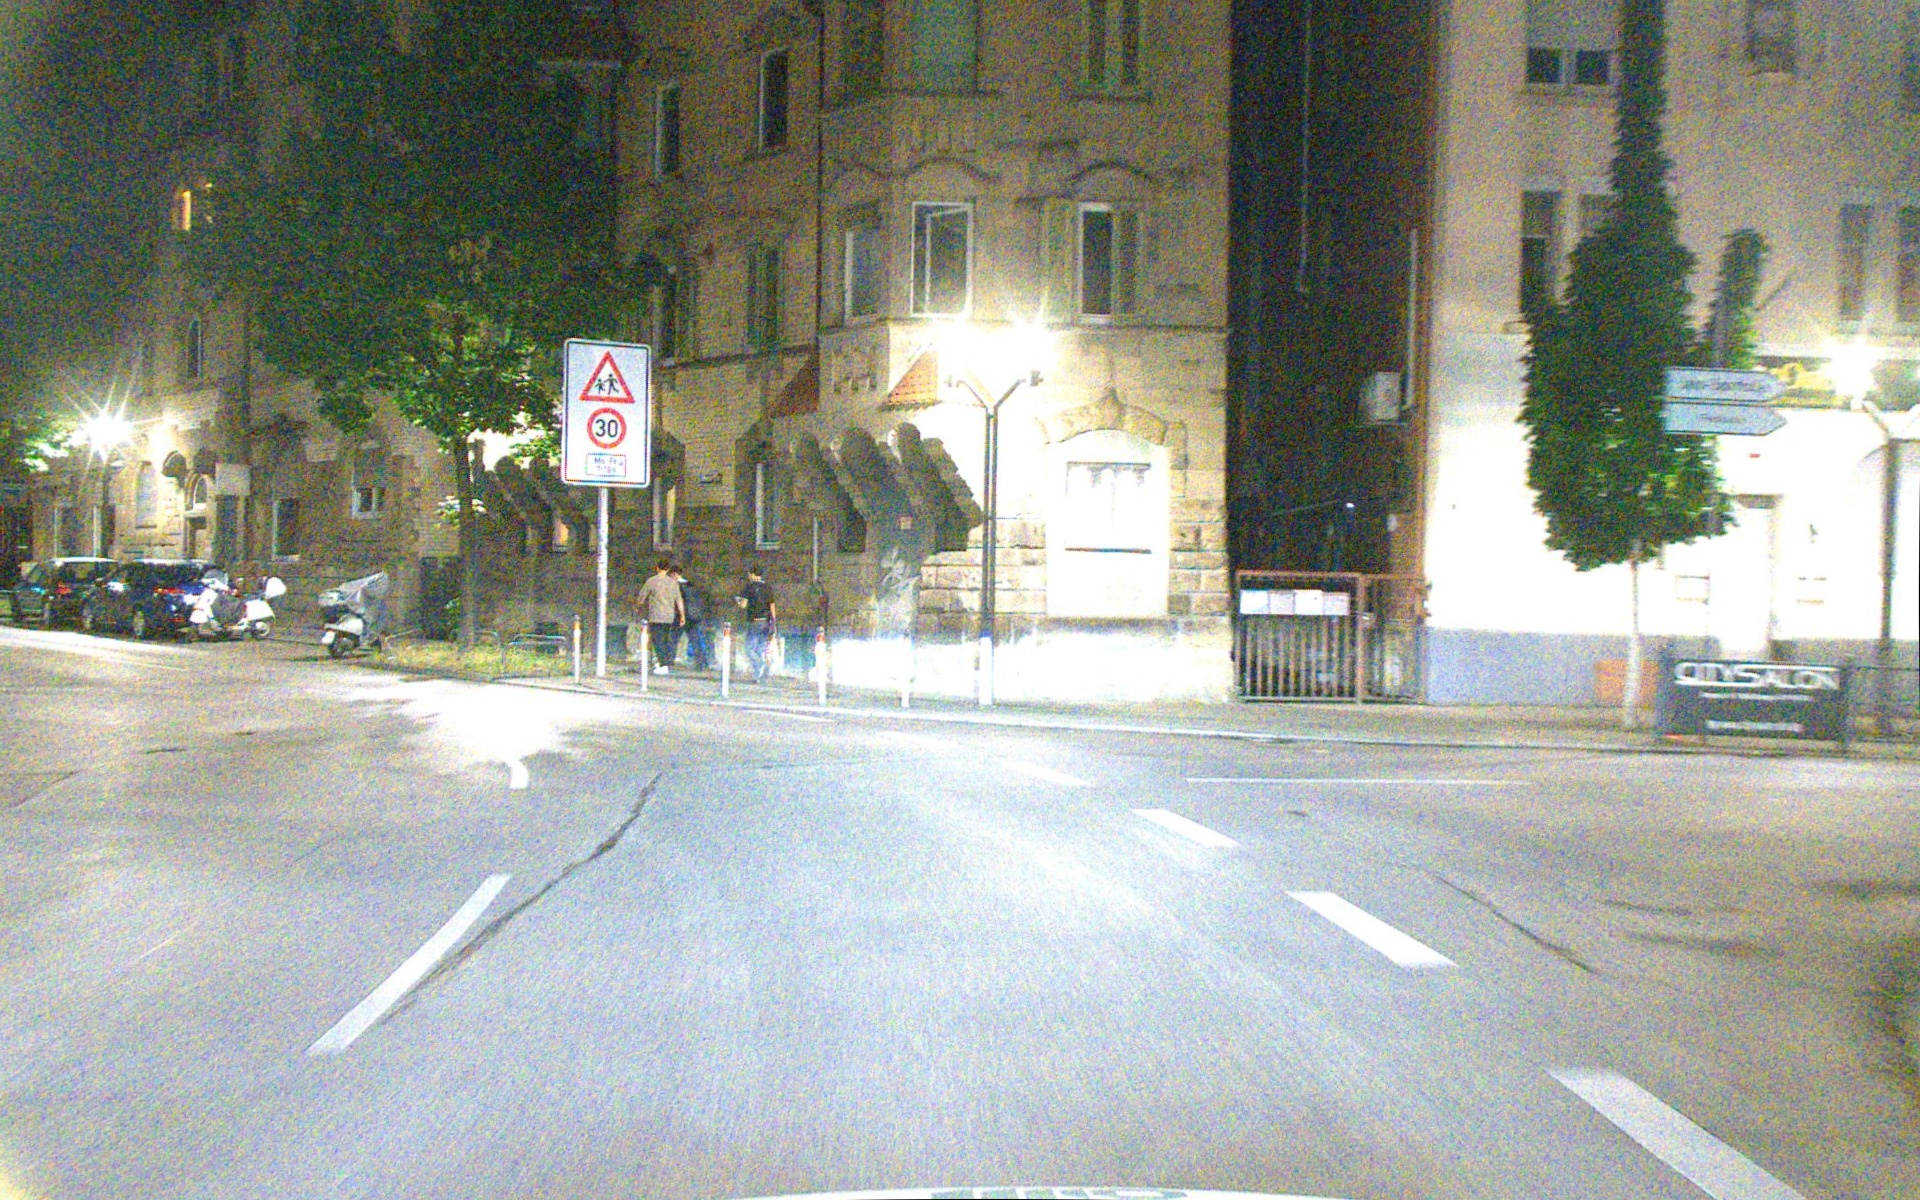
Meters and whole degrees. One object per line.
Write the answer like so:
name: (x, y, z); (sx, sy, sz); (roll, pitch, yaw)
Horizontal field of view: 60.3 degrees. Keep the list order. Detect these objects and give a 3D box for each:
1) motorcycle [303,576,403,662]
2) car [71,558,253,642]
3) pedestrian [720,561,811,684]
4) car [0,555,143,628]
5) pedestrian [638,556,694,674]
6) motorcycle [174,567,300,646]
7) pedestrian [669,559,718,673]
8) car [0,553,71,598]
motorcycle: (-10.137, 0.289, 27.687); (0.744, 1.376, 1.946); (1, 1, 7)
car: (-15.972, -0.033, 33.022); (4.387, 1.527, 1.728); (2, 1, 42)
pedestrian: (-2.731, 0.307, 23.195); (0.947, 1.659, 0.806); (1, 0, 36)
car: (-19.667, -0.213, 36.557); (3.934, 1.479, 1.730); (2, 1, 45)
pedestrian: (-4.445, 0.220, 25.008); (0.693, 1.738, 0.505); (2, 1, 43)
motorcycle: (-13.704, 0.095, 31.398); (0.905, 1.430, 2.054); (2, 2, 33)
pedestrian: (-4.128, 0.240, 25.613); (0.561, 1.738, 0.475); (2, 1, 43)
car: (-31.917, -0.818, 54.759); (1.818, 1.447, 4.005); (0, 0, 40)
